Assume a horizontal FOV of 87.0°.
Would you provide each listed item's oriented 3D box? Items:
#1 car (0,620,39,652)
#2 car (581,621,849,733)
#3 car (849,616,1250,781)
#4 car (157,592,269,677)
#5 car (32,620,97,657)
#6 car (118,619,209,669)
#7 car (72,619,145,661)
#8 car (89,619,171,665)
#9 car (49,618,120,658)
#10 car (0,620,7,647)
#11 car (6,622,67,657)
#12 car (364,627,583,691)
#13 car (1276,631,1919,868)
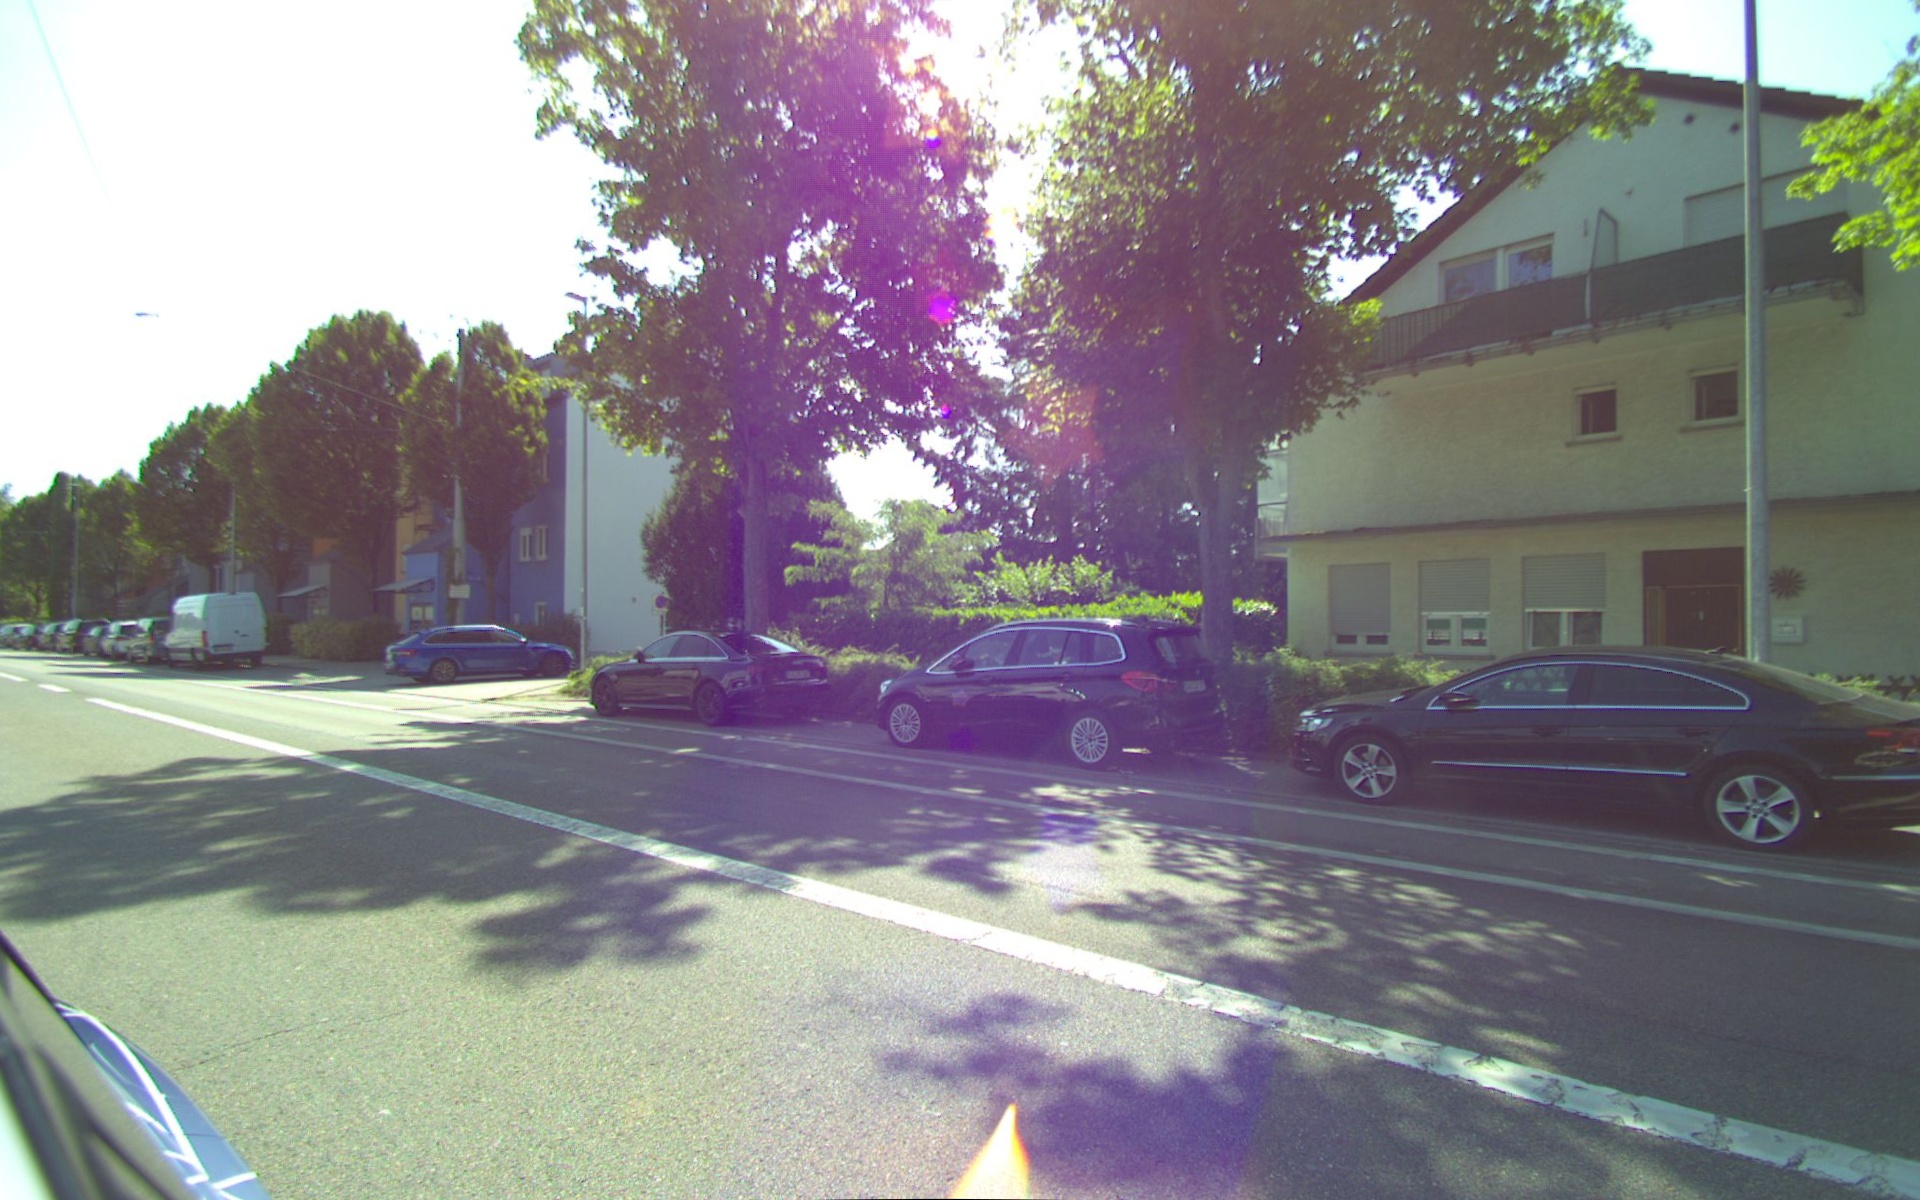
[{"bbox_3d":[-60.246,2.281,64.238,4.766,1.818,1.974,-2,4,41],"label":"car"},{"bbox_3d":[-4.093,1.146,16.508,4.616,1.583,1.845,-1,-2,39],"label":"car"},{"bbox_3d":[0.918,1.022,12.237,4.619,1.583,1.844,-1,0,41],"label":"car"},{"bbox_3d":[-27.345,1.217,36.946,6.213,2.713,1.973,-1,4,43],"label":"car"},{"bbox_3d":[-50.212,2.133,56.711,4.766,1.818,1.974,-2,4,41],"label":"car"},{"bbox_3d":[-33.464,1.804,42.485,4.766,1.818,1.974,-2,4,41],"label":"car"},{"bbox_3d":[-42.110,1.956,50.022,4.254,1.818,1.974,-2,4,41],"label":"car"},{"bbox_3d":[-38.043,1.871,46.344,4.766,1.818,1.974,-2,4,41],"label":"car"},{"bbox_3d":[-45.882,1.980,53.007,4.766,1.818,1.974,-2,4,41],"label":"car"},{"bbox_3d":[-68.761,2.438,71.142,4.766,1.818,1.974,-2,4,41],"label":"car"},{"bbox_3d":[-54.886,2.311,60.135,4.766,1.818,1.974,-2,4,41],"label":"car"},{"bbox_3d":[-12.998,1.523,27.261,4.999,1.441,1.892,-1,-1,-44],"label":"car"},{"bbox_3d":[5.240,1.013,8.429,4.619,1.426,1.844,-1,0,41],"label":"car"}]
